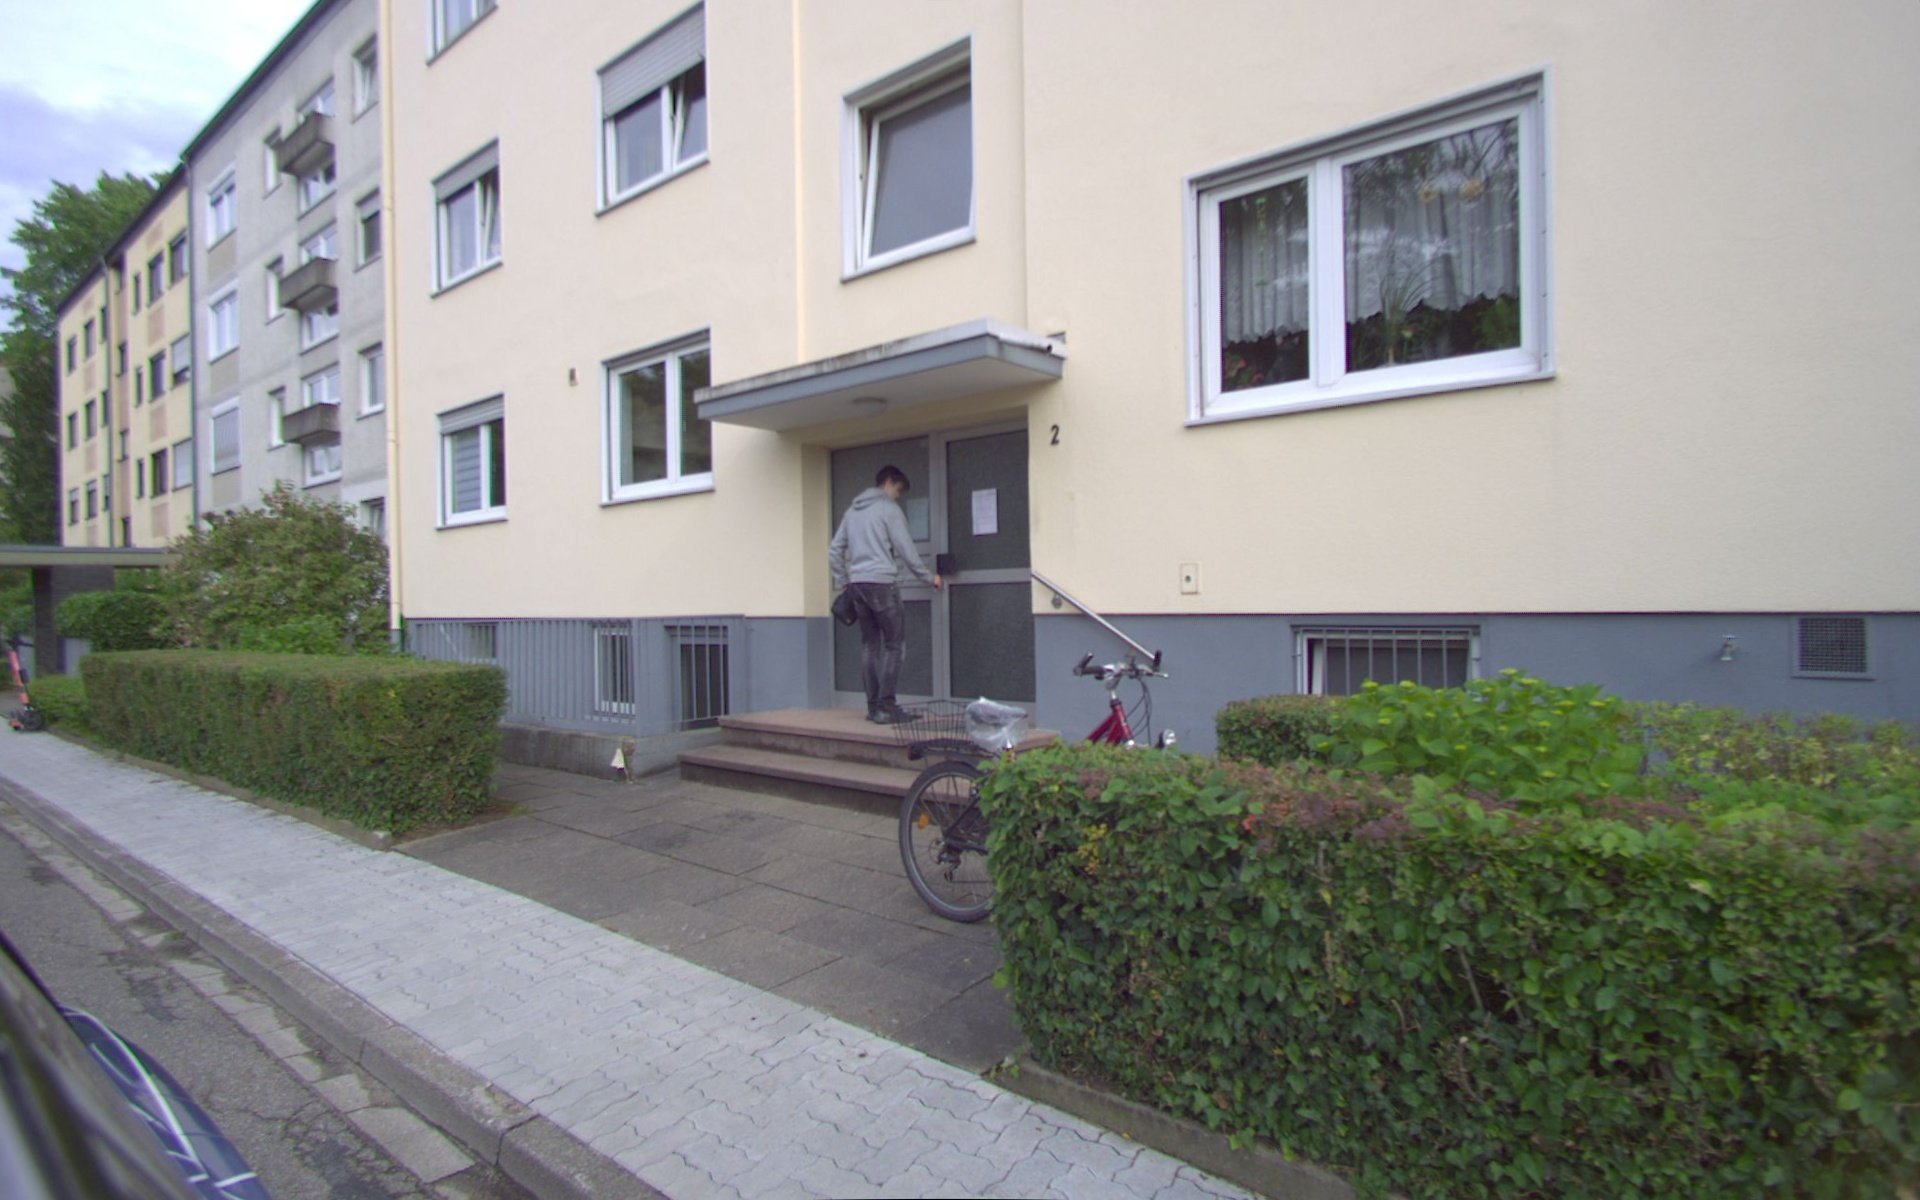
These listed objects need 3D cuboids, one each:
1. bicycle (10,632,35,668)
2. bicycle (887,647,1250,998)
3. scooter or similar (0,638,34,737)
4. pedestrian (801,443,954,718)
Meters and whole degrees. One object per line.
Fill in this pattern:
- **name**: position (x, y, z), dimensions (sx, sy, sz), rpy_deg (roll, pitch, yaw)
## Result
- **bicycle**: position (-28.815, 1.548, 31.096), dimensions (1.689, 1.059, 0.312), rpy_deg (-4, -3, 39)
- **bicycle**: position (0.350, 0.740, 3.829), dimensions (1.417, 1.083, 0.315), rpy_deg (-1, 1, 41)
- **scooter or similar**: position (-12.271, 1.106, 13.092), dimensions (1.163, 1.220, 0.270), rpy_deg (-2, -1, 39)
- **pedestrian**: position (-0.562, -0.123, 6.967), dimensions (0.754, 1.762, 0.673), rpy_deg (-2, 0, 34)
